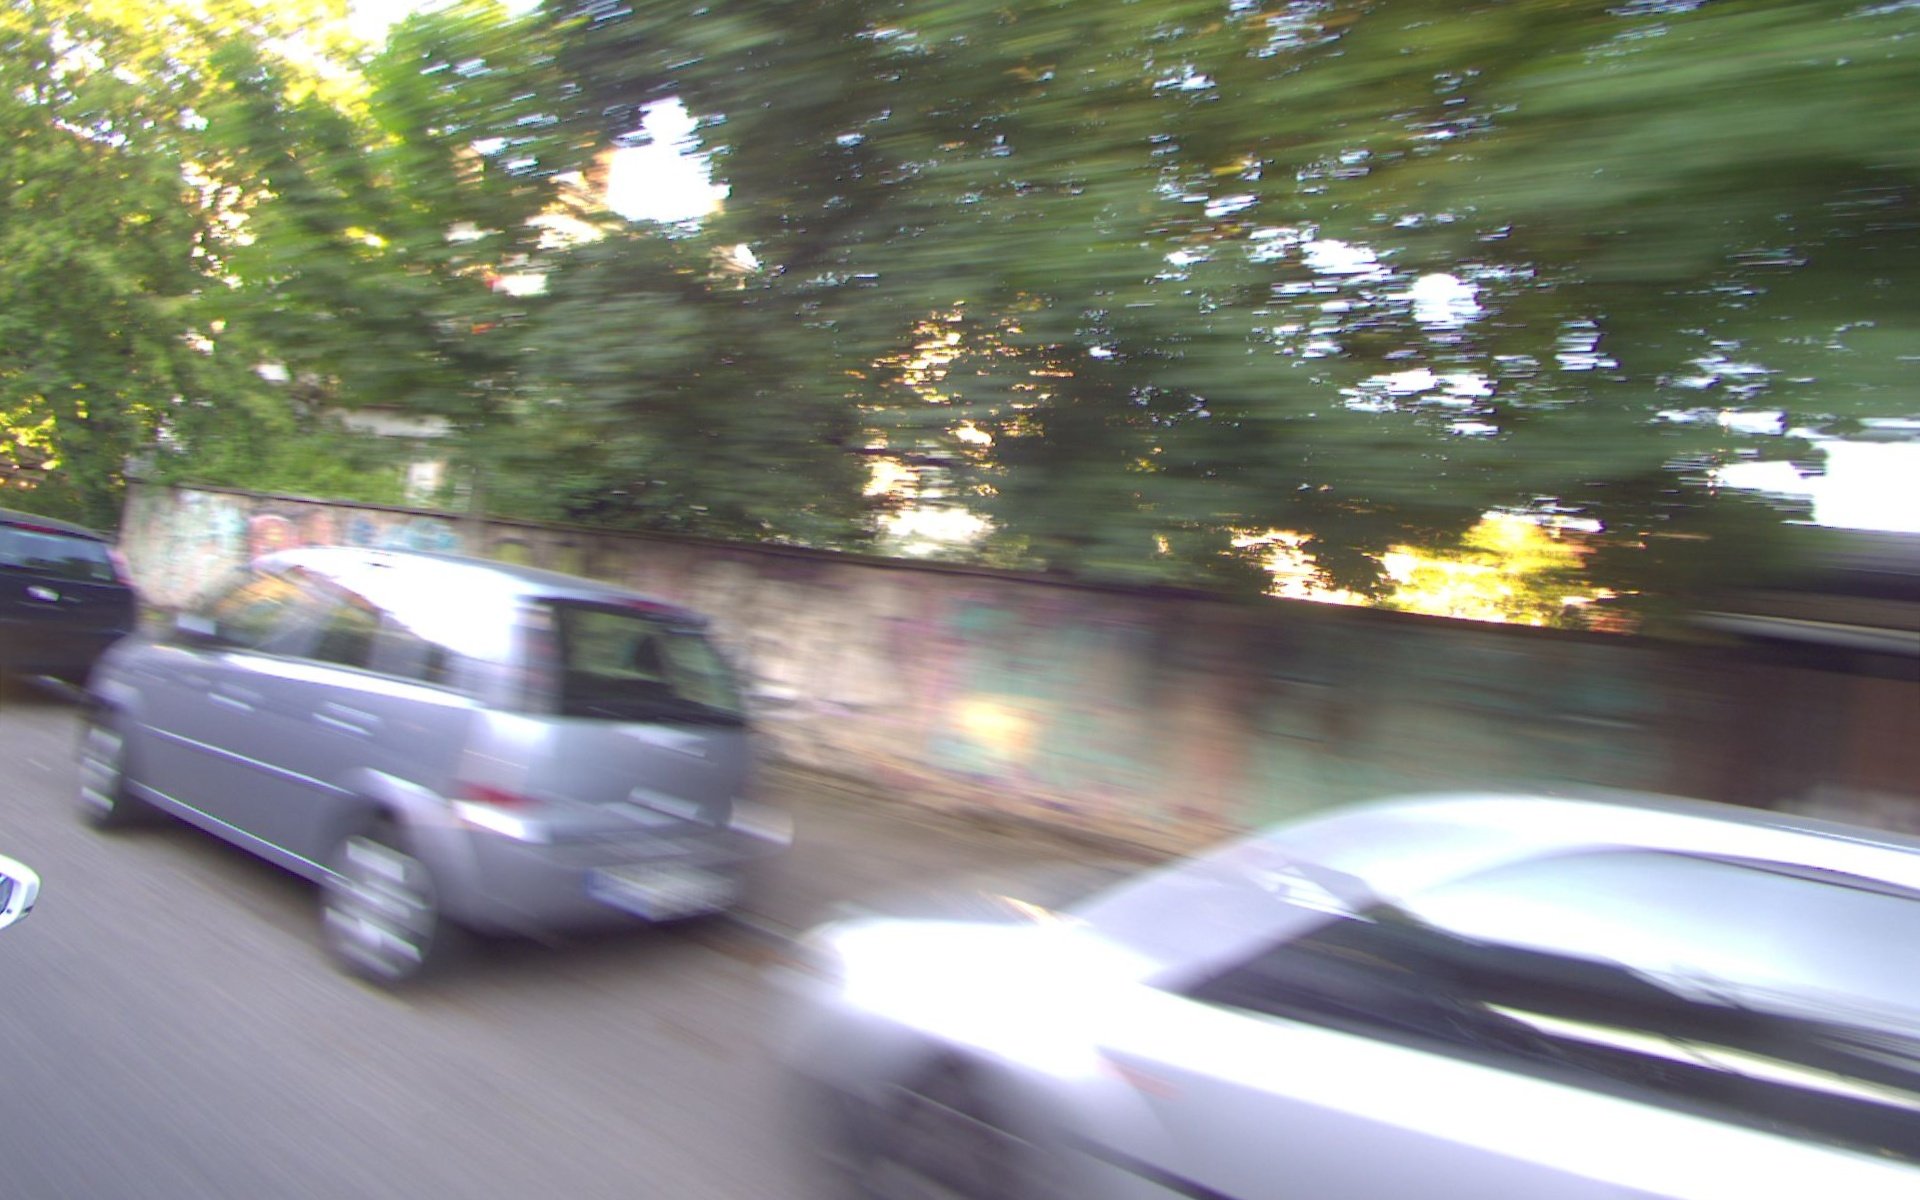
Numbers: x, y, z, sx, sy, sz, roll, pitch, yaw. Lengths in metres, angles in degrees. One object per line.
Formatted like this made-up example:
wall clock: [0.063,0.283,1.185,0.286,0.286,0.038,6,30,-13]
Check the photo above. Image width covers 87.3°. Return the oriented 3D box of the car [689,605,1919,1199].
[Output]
car: [1.441,1.079,2.441,3.809,1.457,1.764,8,-2,32]

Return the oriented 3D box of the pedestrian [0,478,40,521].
pedestrian: [-37.767,-4.025,40.394,0.747,1.497,0.776,9,-2,21]

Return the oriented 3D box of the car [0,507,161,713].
car: [-8.645,-0.108,8.542,3.711,1.493,1.601,7,-3,32]

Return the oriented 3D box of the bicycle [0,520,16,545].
bicycle: [-36.919,-2.667,37.863,0.393,0.894,1.977,9,-3,18]

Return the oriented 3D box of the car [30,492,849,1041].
car: [-2.703,0.543,5.049,3.809,1.621,1.764,7,-3,32]
